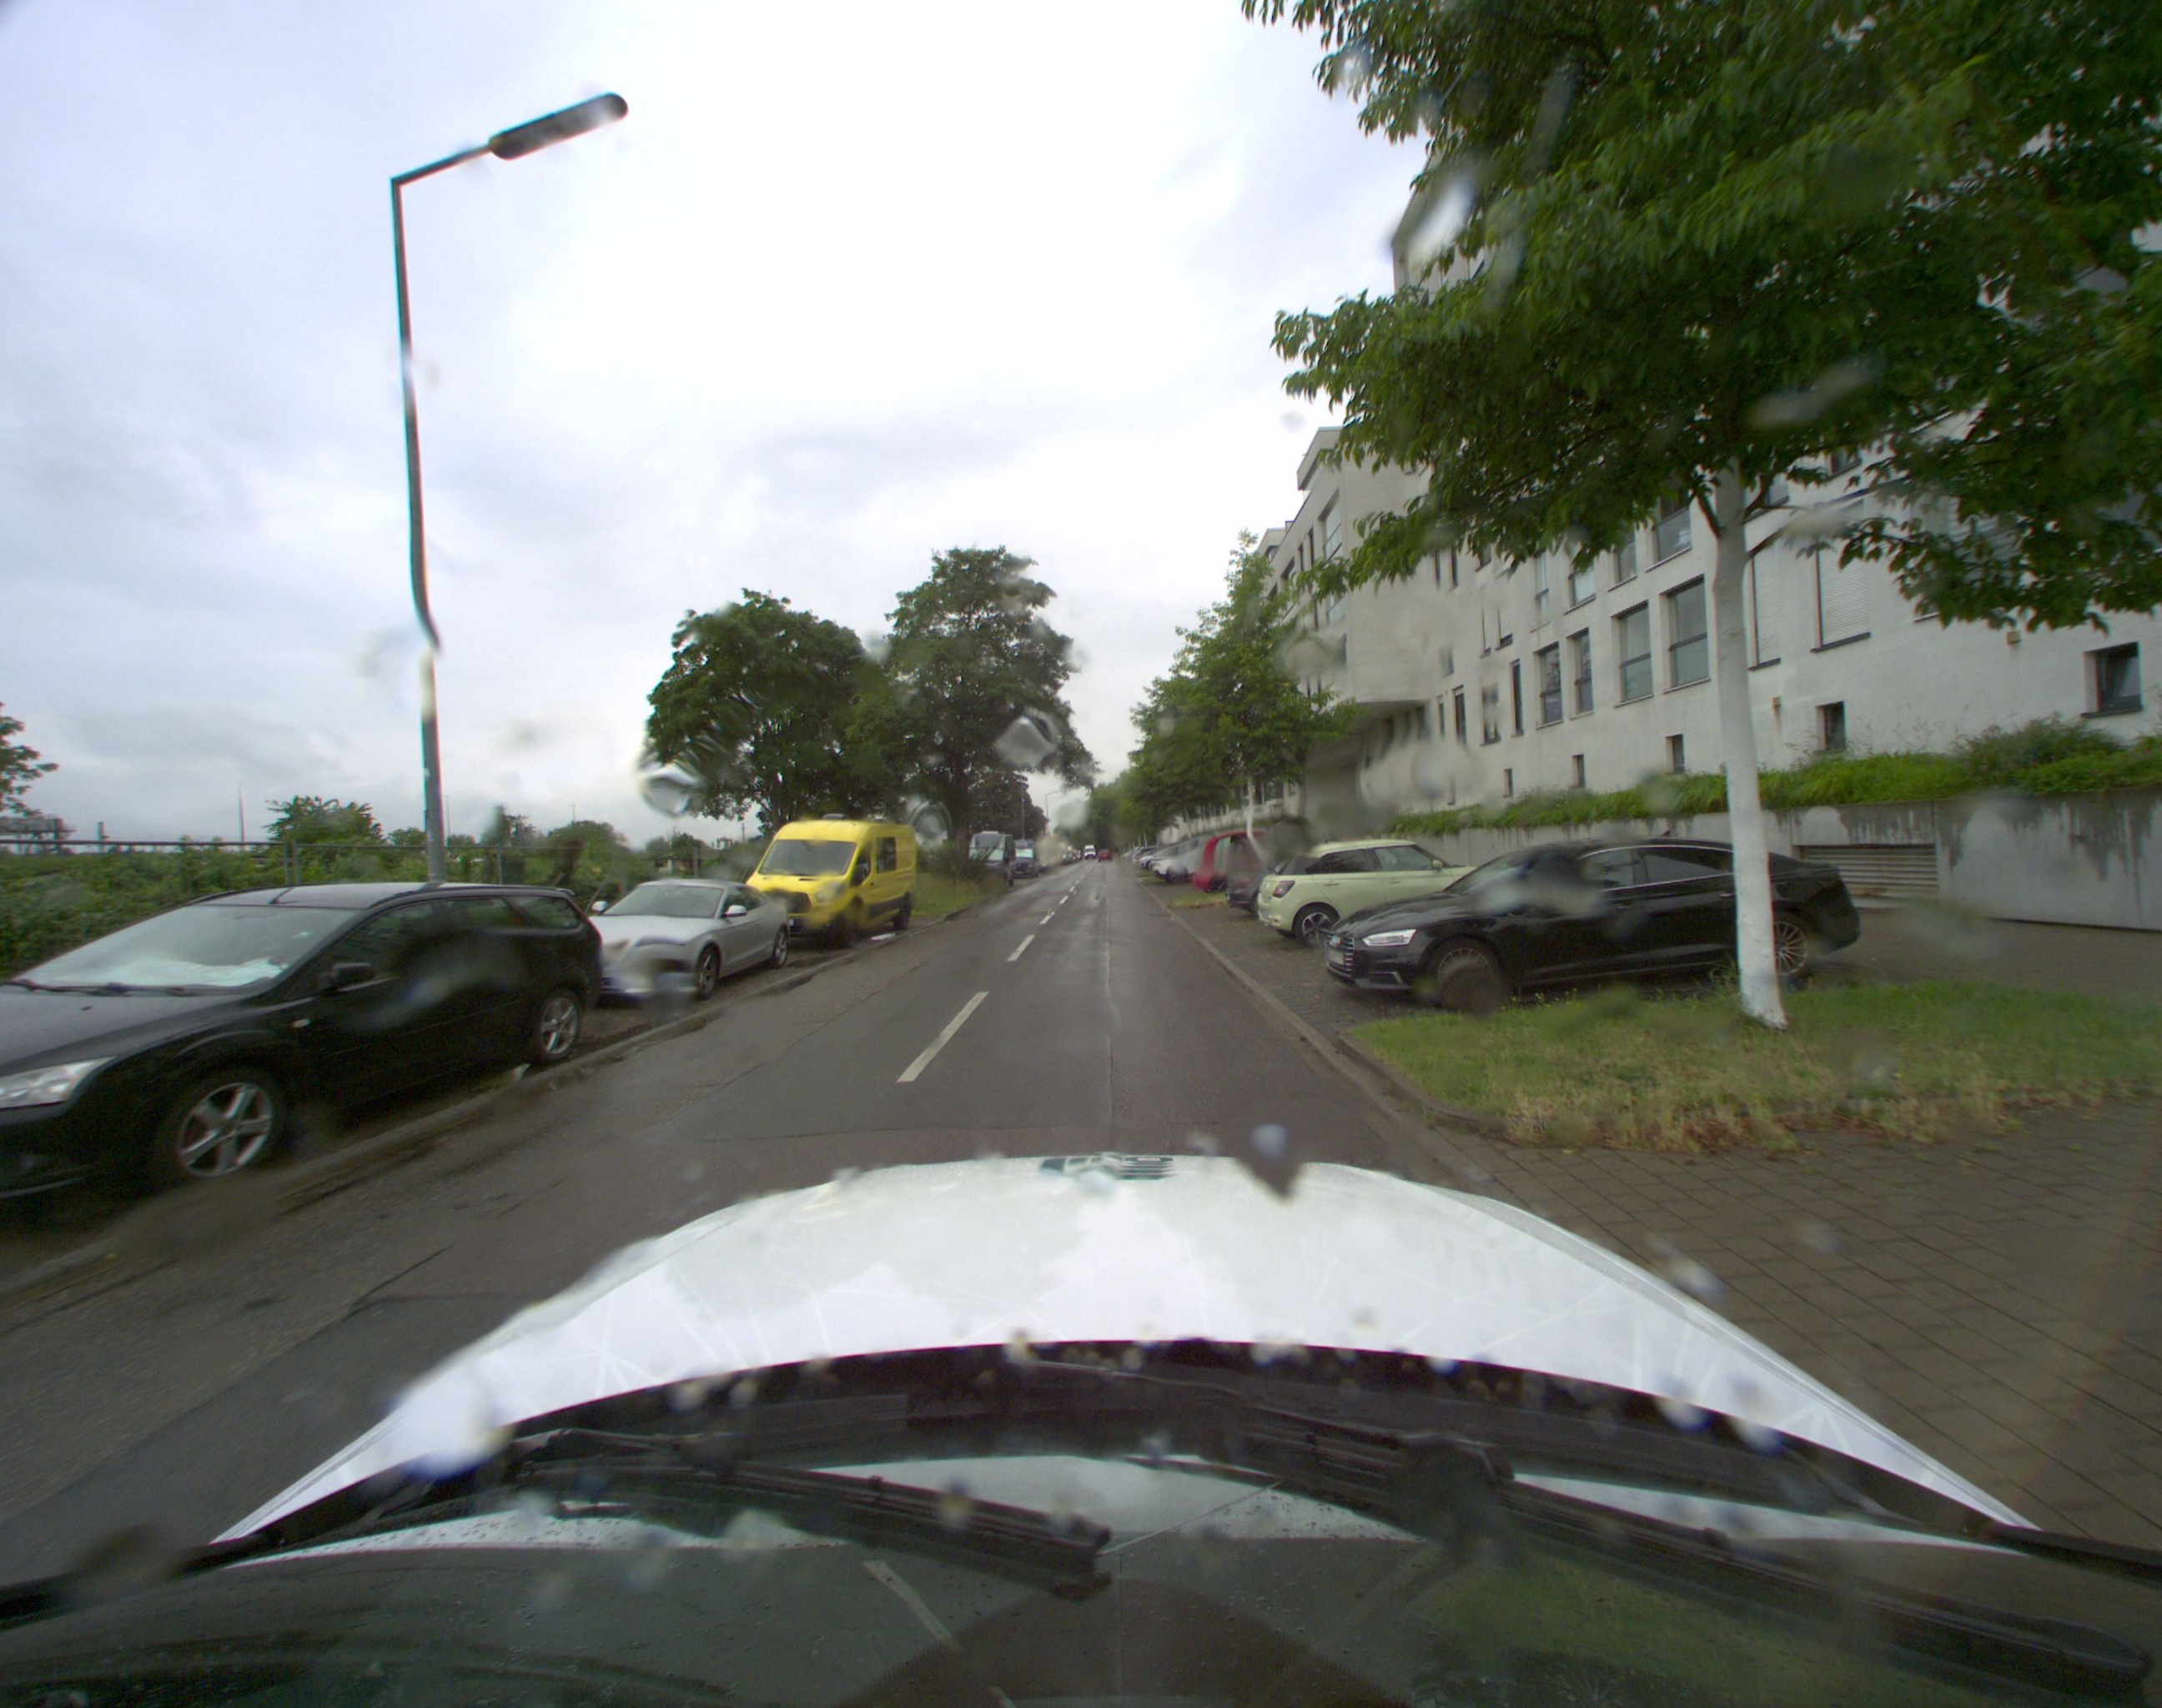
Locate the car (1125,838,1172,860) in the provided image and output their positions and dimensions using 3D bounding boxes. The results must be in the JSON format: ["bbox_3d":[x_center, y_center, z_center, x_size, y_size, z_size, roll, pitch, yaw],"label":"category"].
[{"bbox_3d":[7.002,-0.490,84.598,4.607,2.019,1.856,-3,0,-3],"label":"car"}]

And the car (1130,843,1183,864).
[{"bbox_3d":[6.401,-0.073,69.543,4.286,1.428,1.636,-4,0,-1],"label":"car"}]

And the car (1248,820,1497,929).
[{"bbox_3d":[5.316,0.358,15.204,3.972,1.555,1.635,-5,0,1],"label":"car"}]

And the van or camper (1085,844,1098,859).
[{"bbox_3d":[2.036,-0.467,152.651,1.986,2.497,7.182,-4,0,2],"label":"van or camper"}]

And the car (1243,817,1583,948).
[{"bbox_3d":[4.933,0.407,12.561,4.472,1.481,1.692,-5,0,1],"label":"car"}]

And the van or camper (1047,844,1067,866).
[{"bbox_3d":[-3.046,0.106,105.876,1.986,2.762,7.902,-1,0,2],"label":"van or camper"}]

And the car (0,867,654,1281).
[{"bbox_3d":[-5.316,0.930,5.667,1.987,1.594,5.018,0,0,1],"label":"car"}]

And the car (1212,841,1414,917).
[{"bbox_3d":[4.992,0.523,17.853,3.944,1.474,1.591,-2,0,-1],"label":"car"}]

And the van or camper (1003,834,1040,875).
[{"bbox_3d":[-4.120,0.032,57.566,2.088,2.715,7.573,0,0,0],"label":"van or camper"}]

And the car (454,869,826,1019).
[{"bbox_3d":[-5.353,0.969,11.004,2.003,1.434,5.341,0,0,1],"label":"car"}]

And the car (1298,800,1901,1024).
[{"bbox_3d":[4.655,0.489,7.843,4.555,1.497,1.826,-5,0,0],"label":"car"}]

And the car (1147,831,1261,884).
[{"bbox_3d":[5.292,0.144,35.498,4.527,1.685,1.885,-8,0,-1],"label":"car"}]

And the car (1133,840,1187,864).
[{"bbox_3d":[6.512,-0.169,67.198,4.150,1.624,1.897,-4,0,-1],"label":"car"}]

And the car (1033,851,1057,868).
[{"bbox_3d":[-3.343,0.475,76.155,1.880,1.525,5.110,0,0,1],"label":"car"}]

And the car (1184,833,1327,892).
[{"bbox_3d":[5.348,0.272,25.306,3.973,1.451,1.821,-5,-1,0],"label":"car"}]

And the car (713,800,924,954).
[{"bbox_3d":[-5.206,0.385,17.329,2.182,2.694,6.087,0,0,3],"label":"car"}]

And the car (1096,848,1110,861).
[{"bbox_3d":[3.032,0.067,111.536,1.749,1.705,4.002,-3,0,2],"label":"car"}]

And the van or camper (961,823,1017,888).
[{"bbox_3d":[-4.608,0.074,41.933,2.087,3.094,6.424,0,0,1],"label":"van or camper"}]

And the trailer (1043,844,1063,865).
[{"bbox_3d":[-3.130,0.018,92.011,2.052,2.217,5.794,-1,0,0],"label":"trailer"}]

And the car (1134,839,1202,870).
[{"bbox_3d":[6.099,0.033,57.211,4.462,1.686,1.935,-6,1,0],"label":"car"}]

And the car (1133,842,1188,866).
[{"bbox_3d":[6.032,-0.015,62.017,3.973,1.509,1.685,-4,1,1],"label":"car"}]

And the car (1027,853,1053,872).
[{"bbox_3d":[-3.470,0.680,69.293,1.767,1.502,4.830,-1,0,2],"label":"car"}]
